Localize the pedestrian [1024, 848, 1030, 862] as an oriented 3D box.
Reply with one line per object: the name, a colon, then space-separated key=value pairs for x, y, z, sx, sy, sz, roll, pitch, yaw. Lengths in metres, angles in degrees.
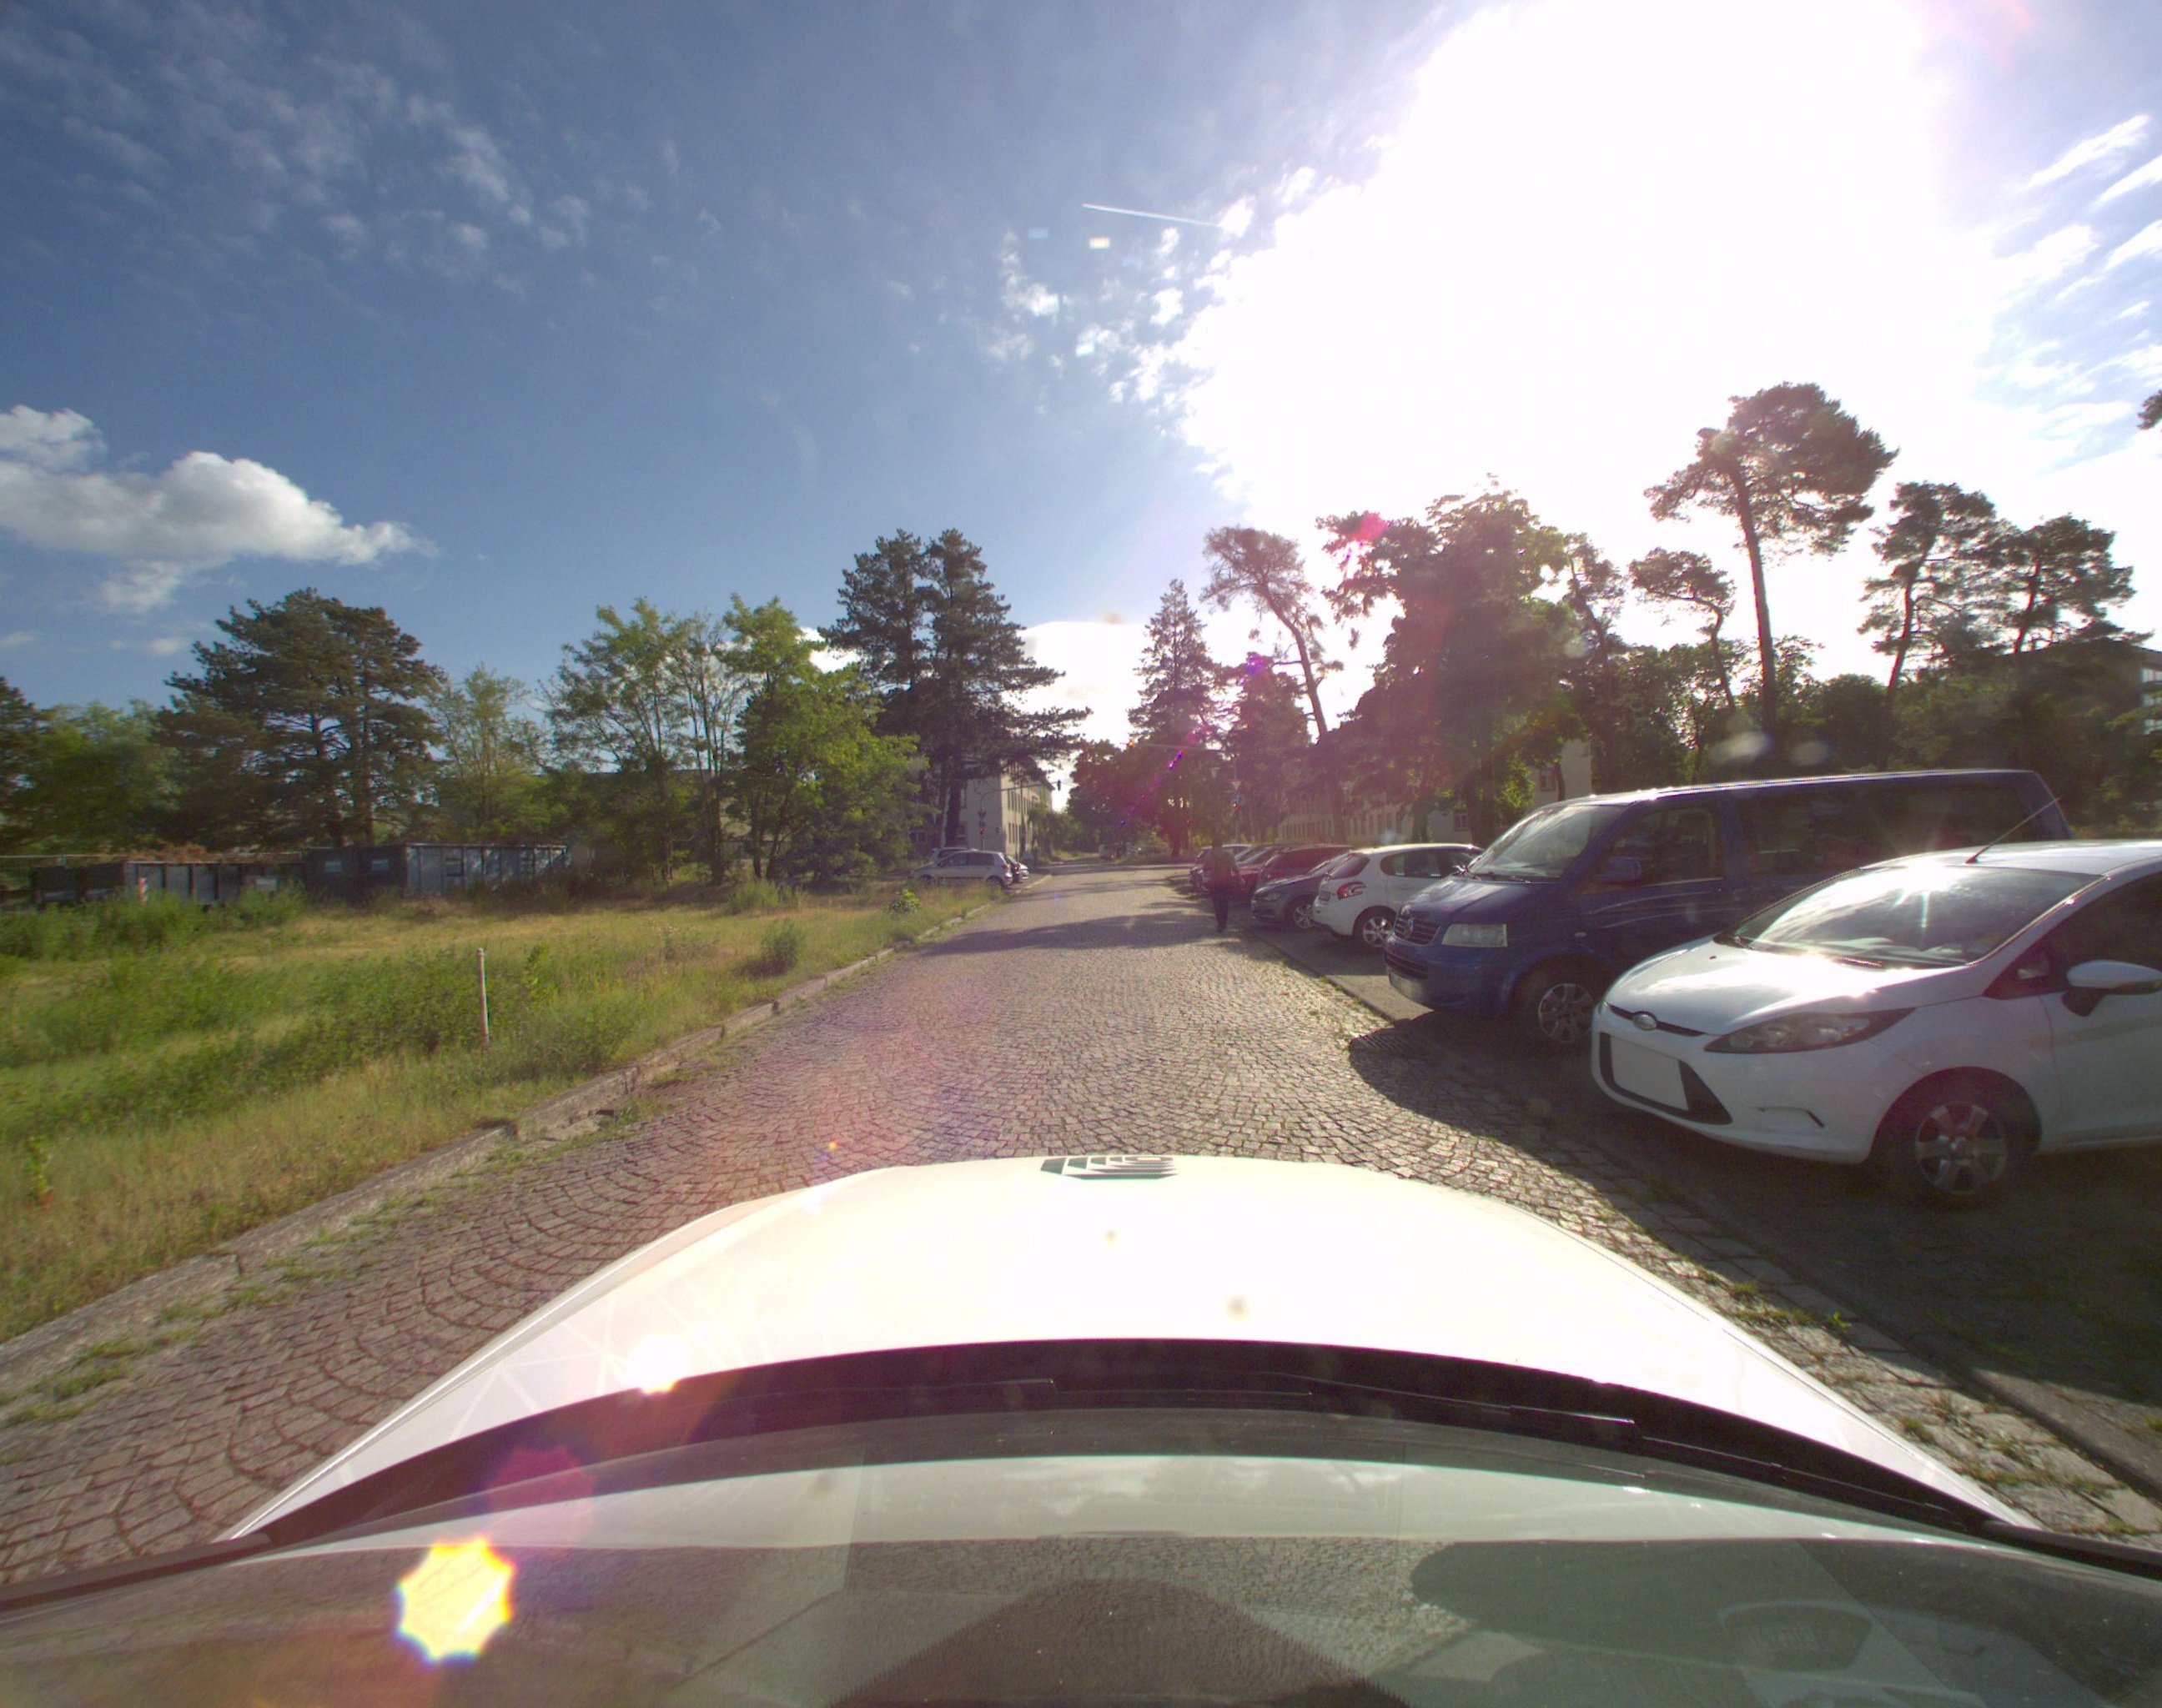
pedestrian: x=-6.219 y=0.124 z=93.696 sx=0.606 sy=1.559 sz=0.544 roll=-1 pitch=1 yaw=-5

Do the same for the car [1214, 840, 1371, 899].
car: x=5.864 y=0.413 z=22.863 sx=3.965 sy=1.448 sz=1.656 roll=-2 pitch=0 yaw=1

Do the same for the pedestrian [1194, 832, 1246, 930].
pedestrian: x=2.560 y=0.486 z=15.040 sx=0.750 sy=1.725 sz=0.829 roll=3 pitch=0 yaw=1

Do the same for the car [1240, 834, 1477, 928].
car: x=4.985 y=0.463 z=15.024 sx=3.765 sy=1.450 sz=1.759 roll=-3 pitch=0 yaw=3

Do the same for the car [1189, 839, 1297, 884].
car: x=6.007 y=0.266 z=30.464 sx=3.659 sy=1.443 sz=1.666 roll=-3 pitch=0 yaw=2

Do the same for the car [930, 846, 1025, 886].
car: x=-4.429 y=0.495 z=35.222 sx=3.866 sy=1.615 sz=1.661 roll=1 pitch=0 yaw=0

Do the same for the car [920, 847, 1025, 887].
car: x=-4.291 y=0.506 z=32.555 sx=3.924 sy=1.445 sz=1.691 roll=2 pitch=0 yaw=0

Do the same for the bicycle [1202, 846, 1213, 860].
bicycle: x=10.467 y=-0.081 z=67.424 sx=0.717 sy=1.115 sz=2.592 roll=-2 pitch=0 yaw=12

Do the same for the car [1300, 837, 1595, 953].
car: x=5.275 y=0.565 z=12.082 sx=3.630 sy=1.492 sz=1.635 roll=-2 pitch=0 yaw=2

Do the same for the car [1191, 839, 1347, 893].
car: x=5.737 y=0.362 z=25.216 sx=4.384 sy=1.388 sz=1.789 roll=-3 pitch=0 yaw=0

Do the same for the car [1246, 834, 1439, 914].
car: x=5.623 y=0.417 z=17.846 sx=3.649 sy=1.455 sz=1.667 roll=-3 pitch=0 yaw=1

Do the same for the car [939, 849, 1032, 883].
car: x=-4.408 y=0.531 z=37.956 sx=3.966 sy=1.496 sz=1.776 roll=1 pitch=1 yaw=6

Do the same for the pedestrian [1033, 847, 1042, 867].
pedestrian: x=-3.851 y=0.244 z=71.620 sx=0.608 sy=1.752 sz=0.627 roll=-1 pitch=0 yaw=-16

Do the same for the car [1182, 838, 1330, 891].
car: x=5.906 y=0.331 z=27.927 sx=4.605 sy=1.455 sz=1.869 roll=-4 pitch=0 yaw=-1

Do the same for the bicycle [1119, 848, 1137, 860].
bicycle: x=4.669 y=0.029 z=80.712 sx=1.722 sy=1.164 sz=0.561 roll=-2 pitch=0 yaw=-2

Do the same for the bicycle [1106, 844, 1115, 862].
bicycle: x=2.783 y=-0.115 z=76.397 sx=0.750 sy=1.580 sz=2.538 roll=-1 pitch=0 yaw=1

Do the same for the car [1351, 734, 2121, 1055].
car: x=4.997 y=0.292 z=6.840 sx=4.735 sy=2.013 sz=2.001 roll=-4 pitch=0 yaw=2

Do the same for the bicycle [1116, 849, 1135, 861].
bicycle: x=4.322 y=0.083 z=79.495 sx=1.829 sy=1.112 sz=0.495 roll=-2 pitch=0 yaw=-2

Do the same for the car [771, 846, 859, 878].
car: x=-14.820 y=0.412 z=45.479 sx=4.127 sy=1.608 sz=2.011 roll=-2 pitch=0 yaw=2

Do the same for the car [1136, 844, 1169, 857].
car: x=8.864 y=-0.427 z=101.216 sx=3.738 sy=1.580 sz=1.738 roll=-1 pitch=0 yaw=-6

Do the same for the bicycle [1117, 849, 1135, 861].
bicycle: x=4.410 y=0.077 z=80.037 sx=1.722 sy=1.112 sz=0.484 roll=-2 pitch=0 yaw=-2

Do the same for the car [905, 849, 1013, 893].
car: x=-4.410 y=0.607 z=29.890 sx=3.674 sy=1.527 sz=1.699 roll=1 pitch=0 yaw=-1

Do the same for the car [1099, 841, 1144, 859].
car: x=4.799 y=-0.457 z=97.411 sx=5.063 sy=1.918 sz=1.995 roll=-2 pitch=0 yaw=-8

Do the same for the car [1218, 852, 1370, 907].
car: x=5.281 y=0.615 z=20.488 sx=3.447 sy=1.242 sz=1.537 roll=-1 pitch=0 yaw=2

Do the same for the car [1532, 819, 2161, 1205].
car: x=4.652 y=0.625 z=4.221 sx=3.708 sy=1.466 sz=1.609 roll=-3 pitch=0 yaw=-1

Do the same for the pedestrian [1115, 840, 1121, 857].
pedestrian: x=4.394 y=-0.634 z=95.849 sx=0.592 sy=2.013 sz=0.573 roll=-2 pitch=0 yaw=5
